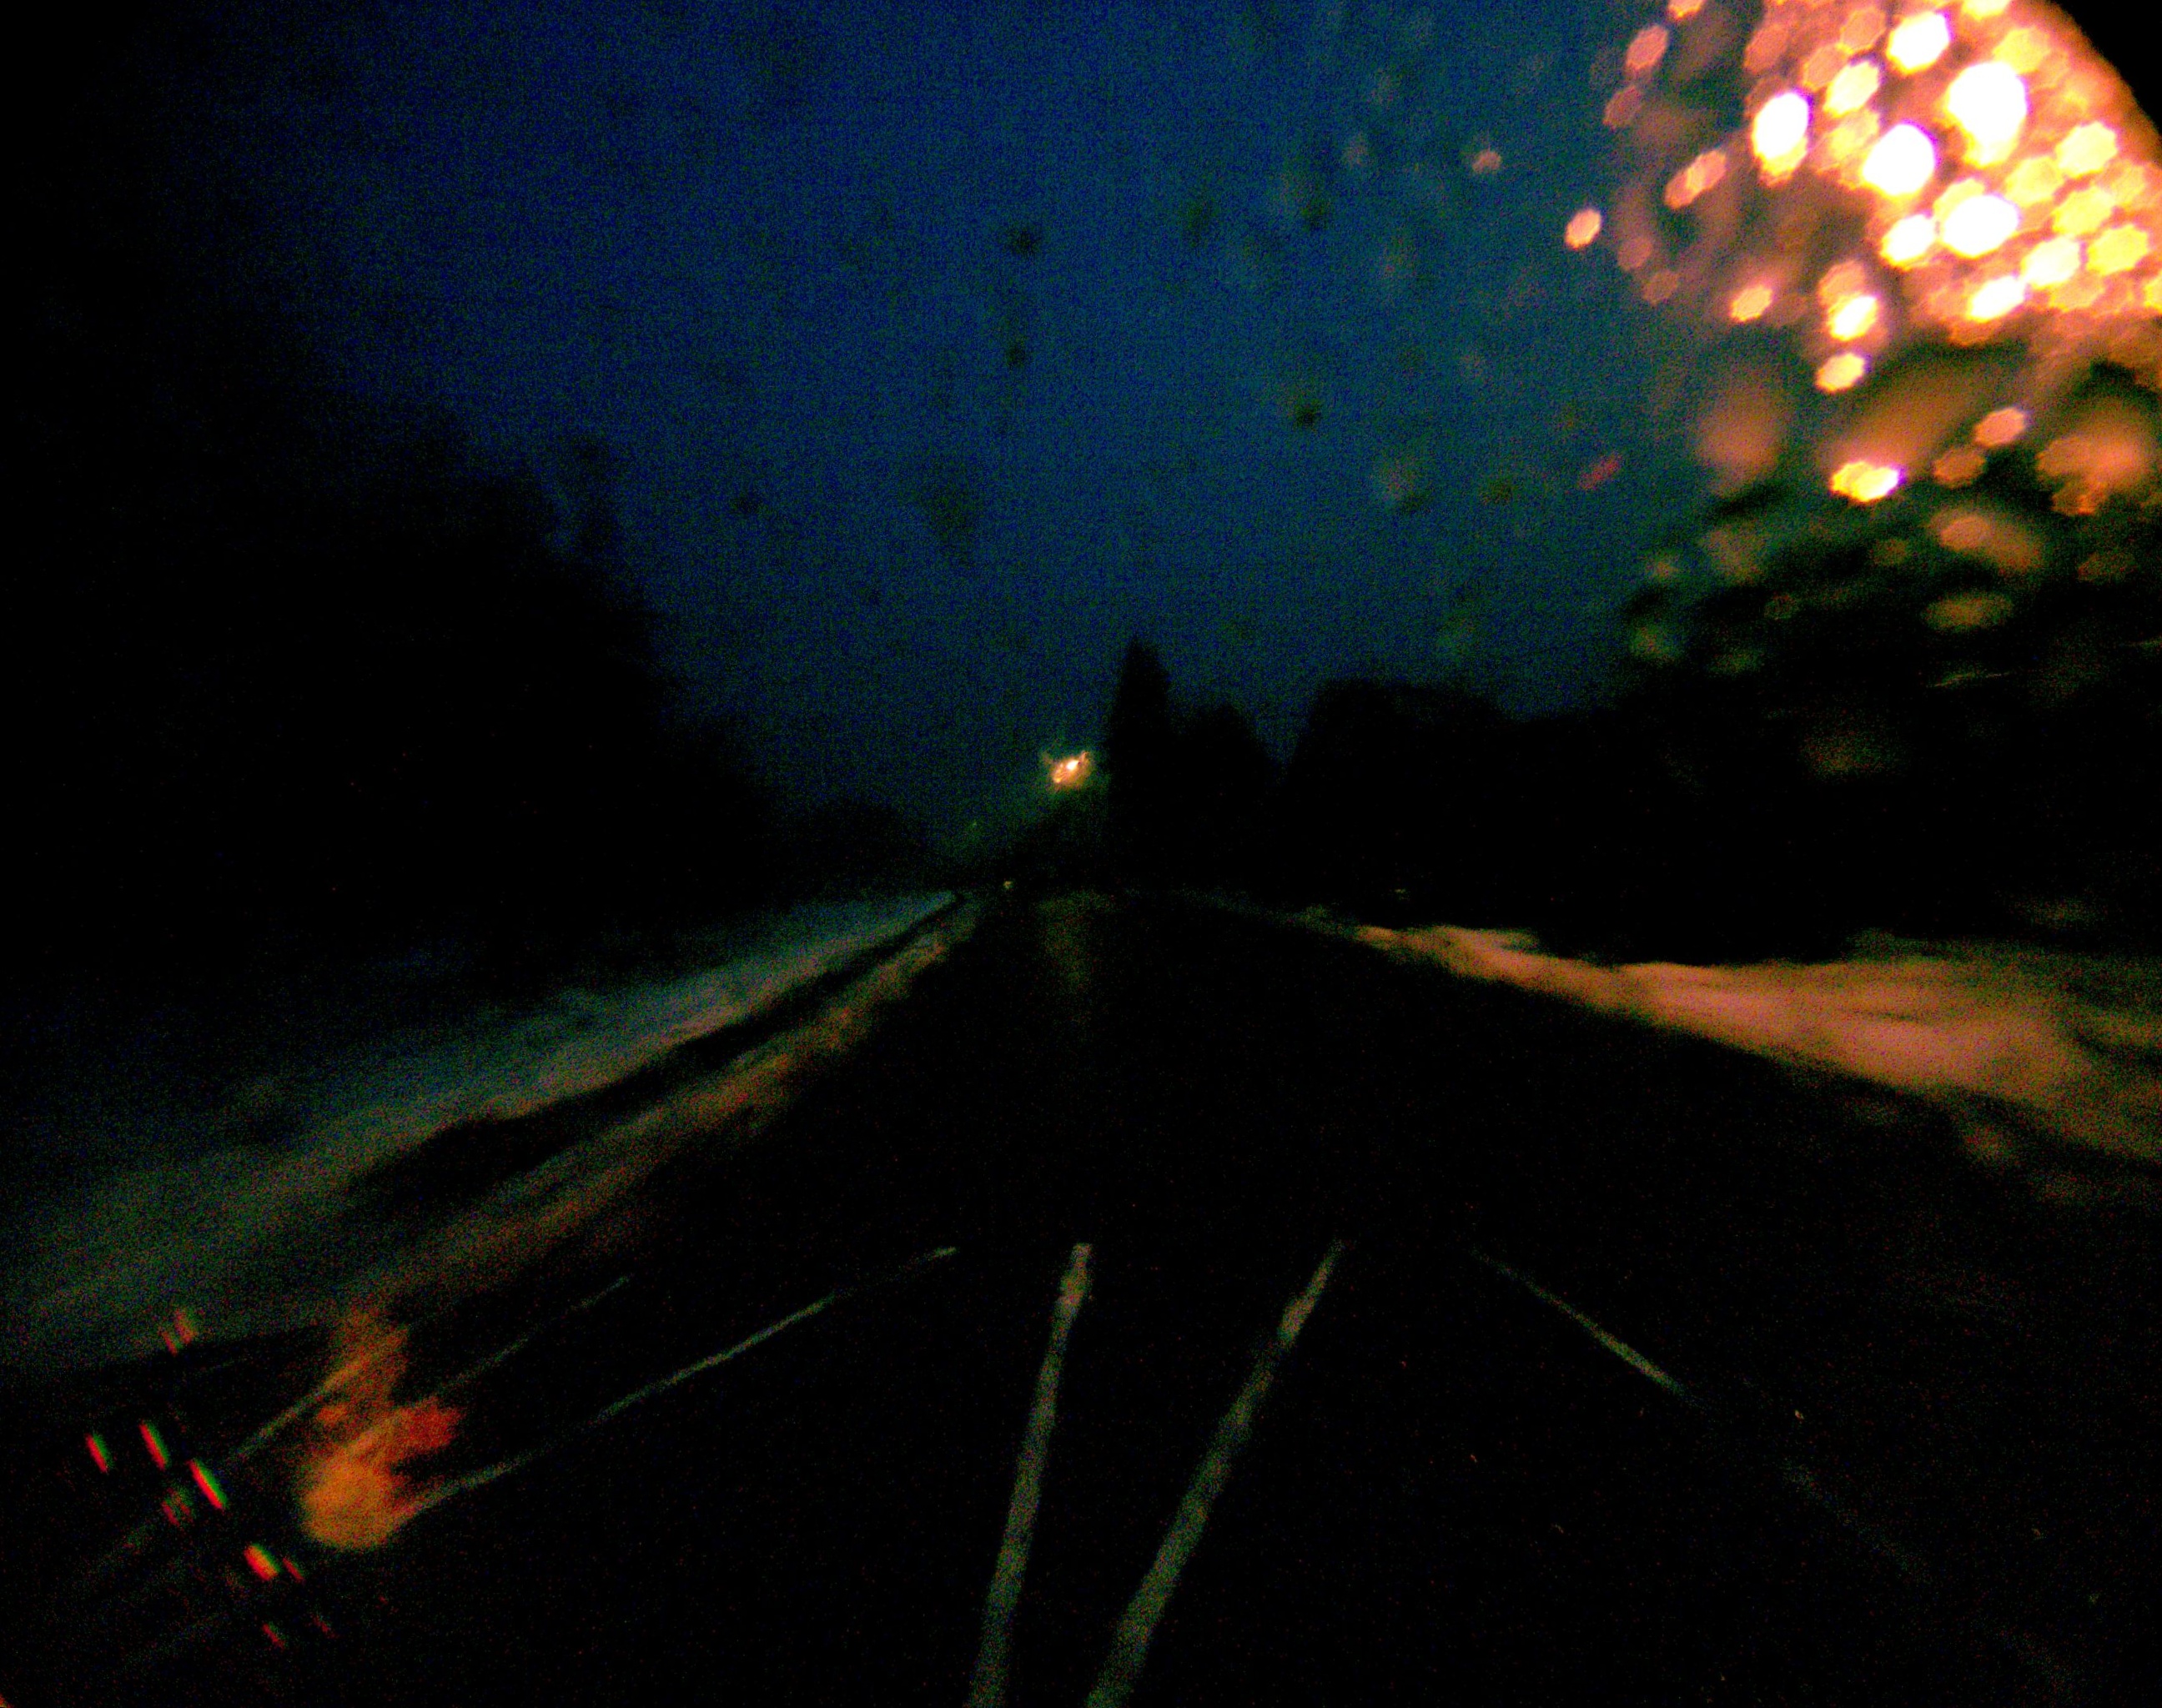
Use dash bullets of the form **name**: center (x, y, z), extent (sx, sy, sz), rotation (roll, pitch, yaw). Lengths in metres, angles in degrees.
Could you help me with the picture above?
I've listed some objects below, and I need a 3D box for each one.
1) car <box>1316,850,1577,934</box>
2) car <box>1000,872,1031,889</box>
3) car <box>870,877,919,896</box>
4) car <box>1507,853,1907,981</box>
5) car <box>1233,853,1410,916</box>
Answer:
- **car**: center (7.467, 0.728, 15.719), extent (4.544, 1.557, 2.108), rotation (0, 0, -13)
- **car**: center (-6.308, 2.538, 72.788), extent (1.884, 1.417, 5.387), rotation (-3, -2, -16)
- **car**: center (-18.564, 3.255, 75.583), extent (4.466, 1.373, 2.034), rotation (-7, -1, -15)
- **car**: center (7.997, 0.736, 9.919), extent (3.867, 1.463, 1.937), rotation (0, 0, -8)
- **car**: center (6.548, 0.783, 21.418), extent (2.002, 1.557, 4.988), rotation (1, -1, -22)
